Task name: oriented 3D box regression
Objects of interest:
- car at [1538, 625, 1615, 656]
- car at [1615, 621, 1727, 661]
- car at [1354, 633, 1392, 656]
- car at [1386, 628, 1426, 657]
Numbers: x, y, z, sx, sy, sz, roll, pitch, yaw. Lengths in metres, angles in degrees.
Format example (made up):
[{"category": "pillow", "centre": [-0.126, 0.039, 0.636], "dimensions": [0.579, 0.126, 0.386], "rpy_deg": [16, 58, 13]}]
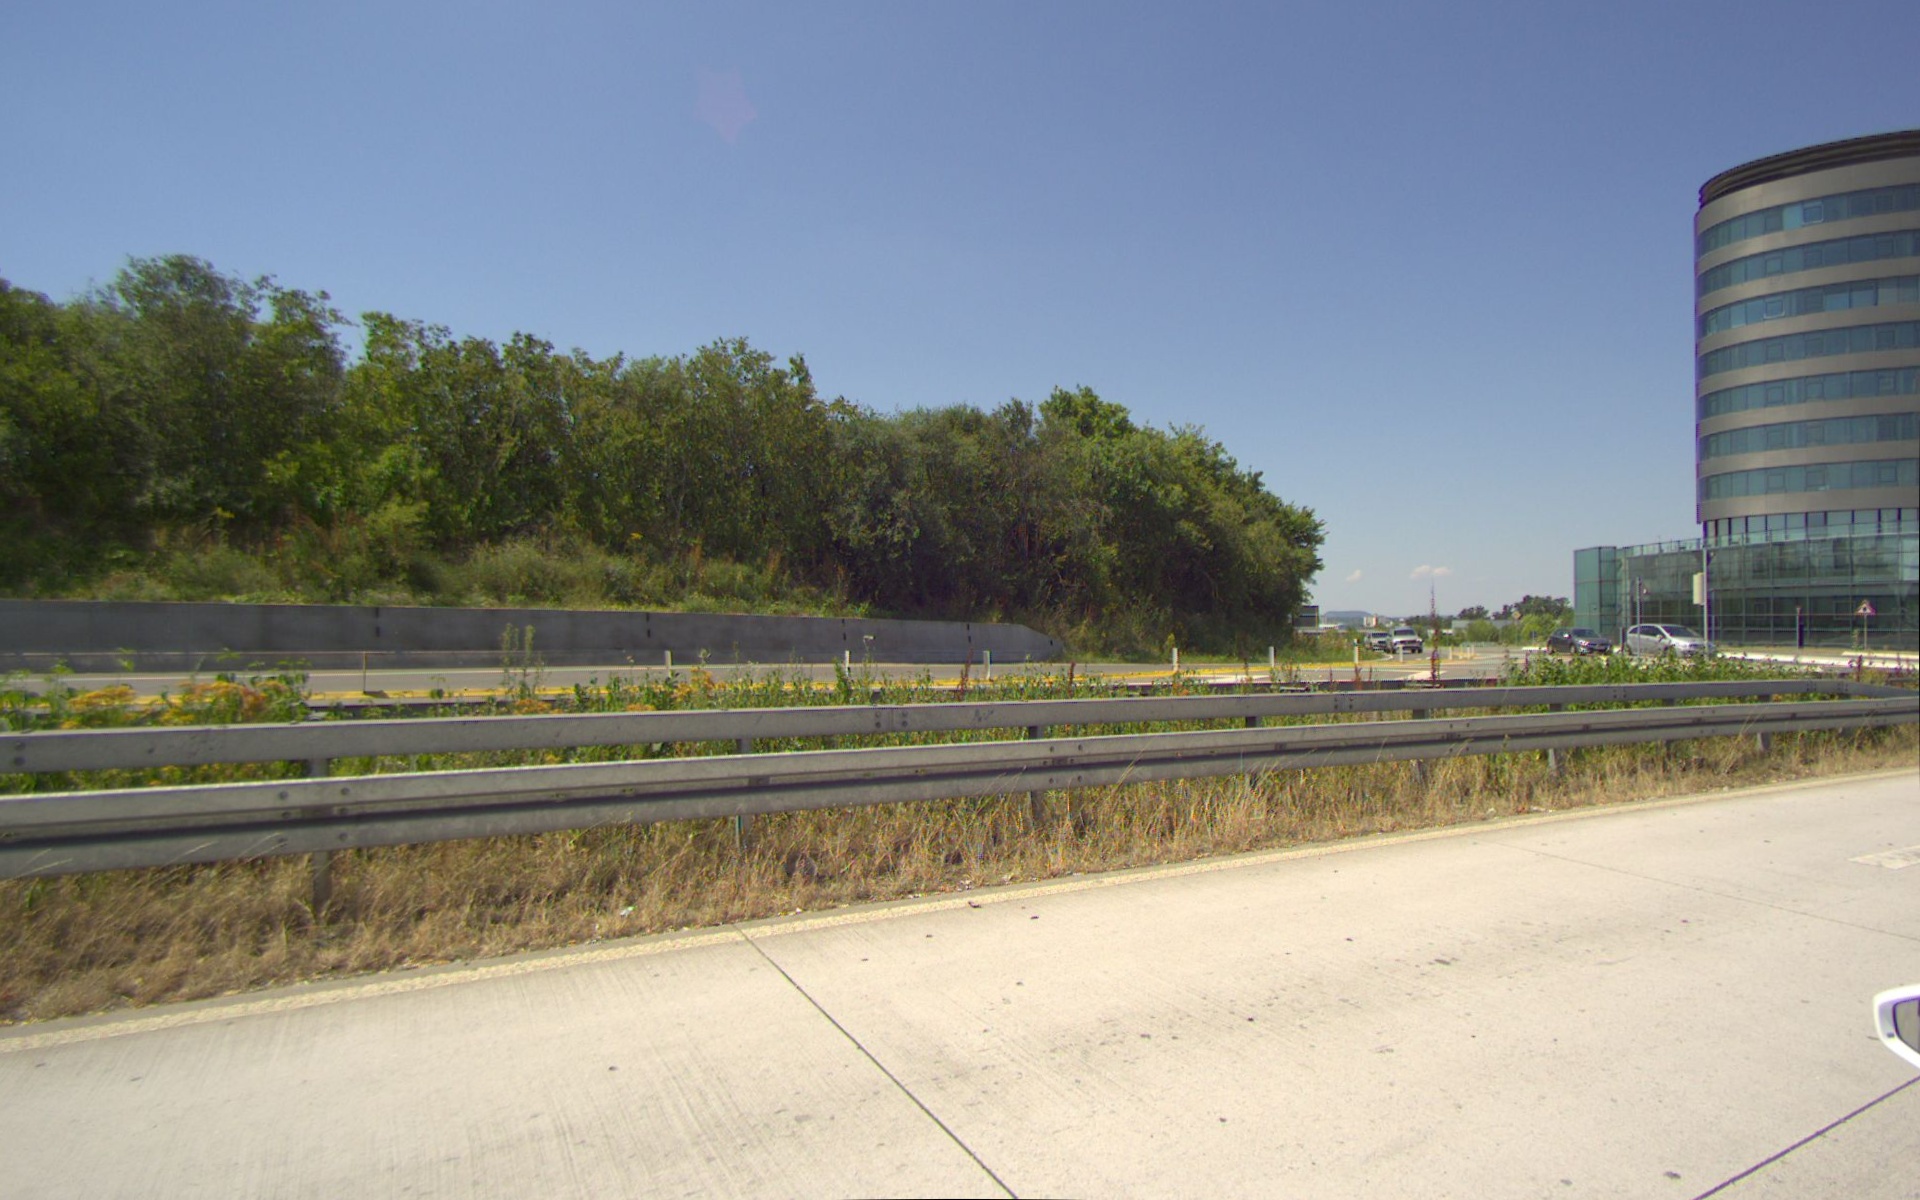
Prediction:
[{"category": "car", "centre": [31.809, 2.096, 51.996], "dimensions": [1.663, 1.475, 4.333], "rpy_deg": [2, -2, 6]}, {"category": "car", "centre": [31.150, 1.790, 44.169], "dimensions": [1.742, 1.616, 4.329], "rpy_deg": [2, -2, -3]}, {"category": "car", "centre": [33.414, 3.581, 81.351], "dimensions": [1.959, 1.715, 4.660], "rpy_deg": [1, -1, 12]}, {"category": "car", "centre": [30.750, 2.889, 69.367], "dimensions": [1.960, 1.796, 4.859], "rpy_deg": [1, -1, 18]}]
